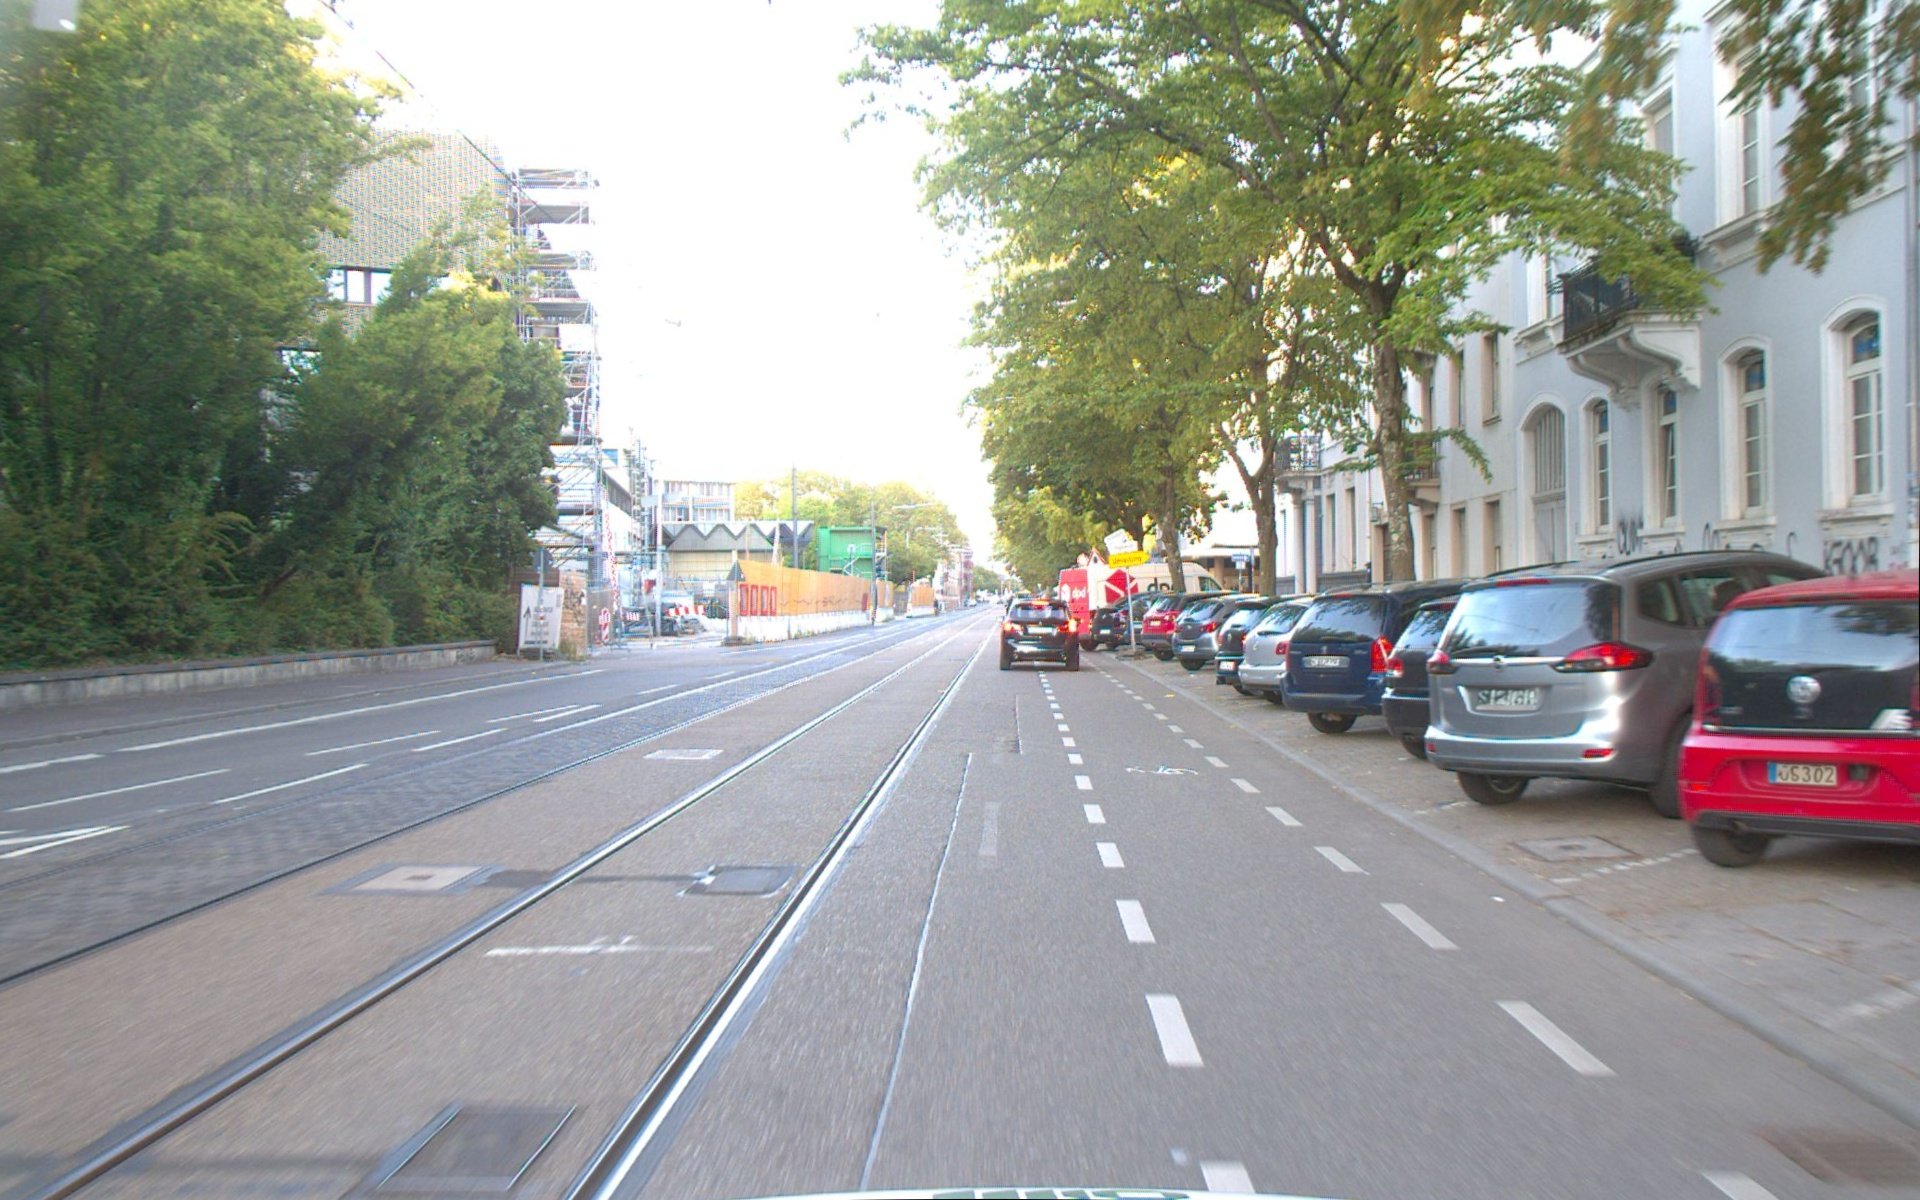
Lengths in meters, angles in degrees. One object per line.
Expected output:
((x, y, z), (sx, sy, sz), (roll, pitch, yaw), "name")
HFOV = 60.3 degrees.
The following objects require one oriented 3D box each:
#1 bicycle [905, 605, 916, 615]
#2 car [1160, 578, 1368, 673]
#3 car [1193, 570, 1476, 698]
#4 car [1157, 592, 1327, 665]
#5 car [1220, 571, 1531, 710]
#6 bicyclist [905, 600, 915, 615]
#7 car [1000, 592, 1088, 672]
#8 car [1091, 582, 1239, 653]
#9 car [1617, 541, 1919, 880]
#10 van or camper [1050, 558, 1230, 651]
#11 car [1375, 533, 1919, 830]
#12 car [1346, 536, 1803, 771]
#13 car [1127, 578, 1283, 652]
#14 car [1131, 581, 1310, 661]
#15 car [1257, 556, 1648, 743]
((-4.643, 0.942, 154.838), (0.928, 0.864, 2.696), (-1, 0, -1), "bicycle")
((6.251, 0.514, 33.947), (3.902, 1.631, 1.822), (-4, 0, -30), "car")
((5.621, 0.485, 24.748), (3.901, 1.631, 1.822), (-3, 0, -30), "car")
((6.405, 0.650, 37.461), (3.606, 1.470, 1.641), (-2, -1, -33), "car")
((5.636, 0.512, 22.363), (3.902, 1.631, 1.821), (-2, -1, -31), "car")
((-4.628, 0.673, 154.066), (0.925, 1.369, 1.111), (-1, 0, -1), "bicyclist")
((1.845, 0.687, 37.513), (1.843, 1.648, 4.001), (2, 0, 1), "car")
((6.041, 0.523, 48.719), (3.893, 1.796, 1.826), (-4, 0, -25), "car")
((5.627, 0.430, 9.107), (3.907, 1.503, 1.809), (-3, 1, -33), "car")
((5.703, 0.122, 52.191), (5.482, 2.574, 2.063), (-4, 0, -33), "van or camper")
((5.056, 0.481, 11.905), (3.910, 1.697, 1.878), (-3, 0, -35), "car")
((5.603, 0.420, 14.987), (3.903, 1.631, 1.729), (-5, 1, -30), "car")
((6.854, 0.420, 46.286), (3.893, 1.796, 1.826), (-4, 0, -25), "car")
((6.356, 0.509, 40.315), (3.893, 1.631, 1.826), (-4, 0, -25), "car")
((5.339, 0.481, 17.858), (3.902, 1.631, 1.822), (-4, 0, -30), "car")
